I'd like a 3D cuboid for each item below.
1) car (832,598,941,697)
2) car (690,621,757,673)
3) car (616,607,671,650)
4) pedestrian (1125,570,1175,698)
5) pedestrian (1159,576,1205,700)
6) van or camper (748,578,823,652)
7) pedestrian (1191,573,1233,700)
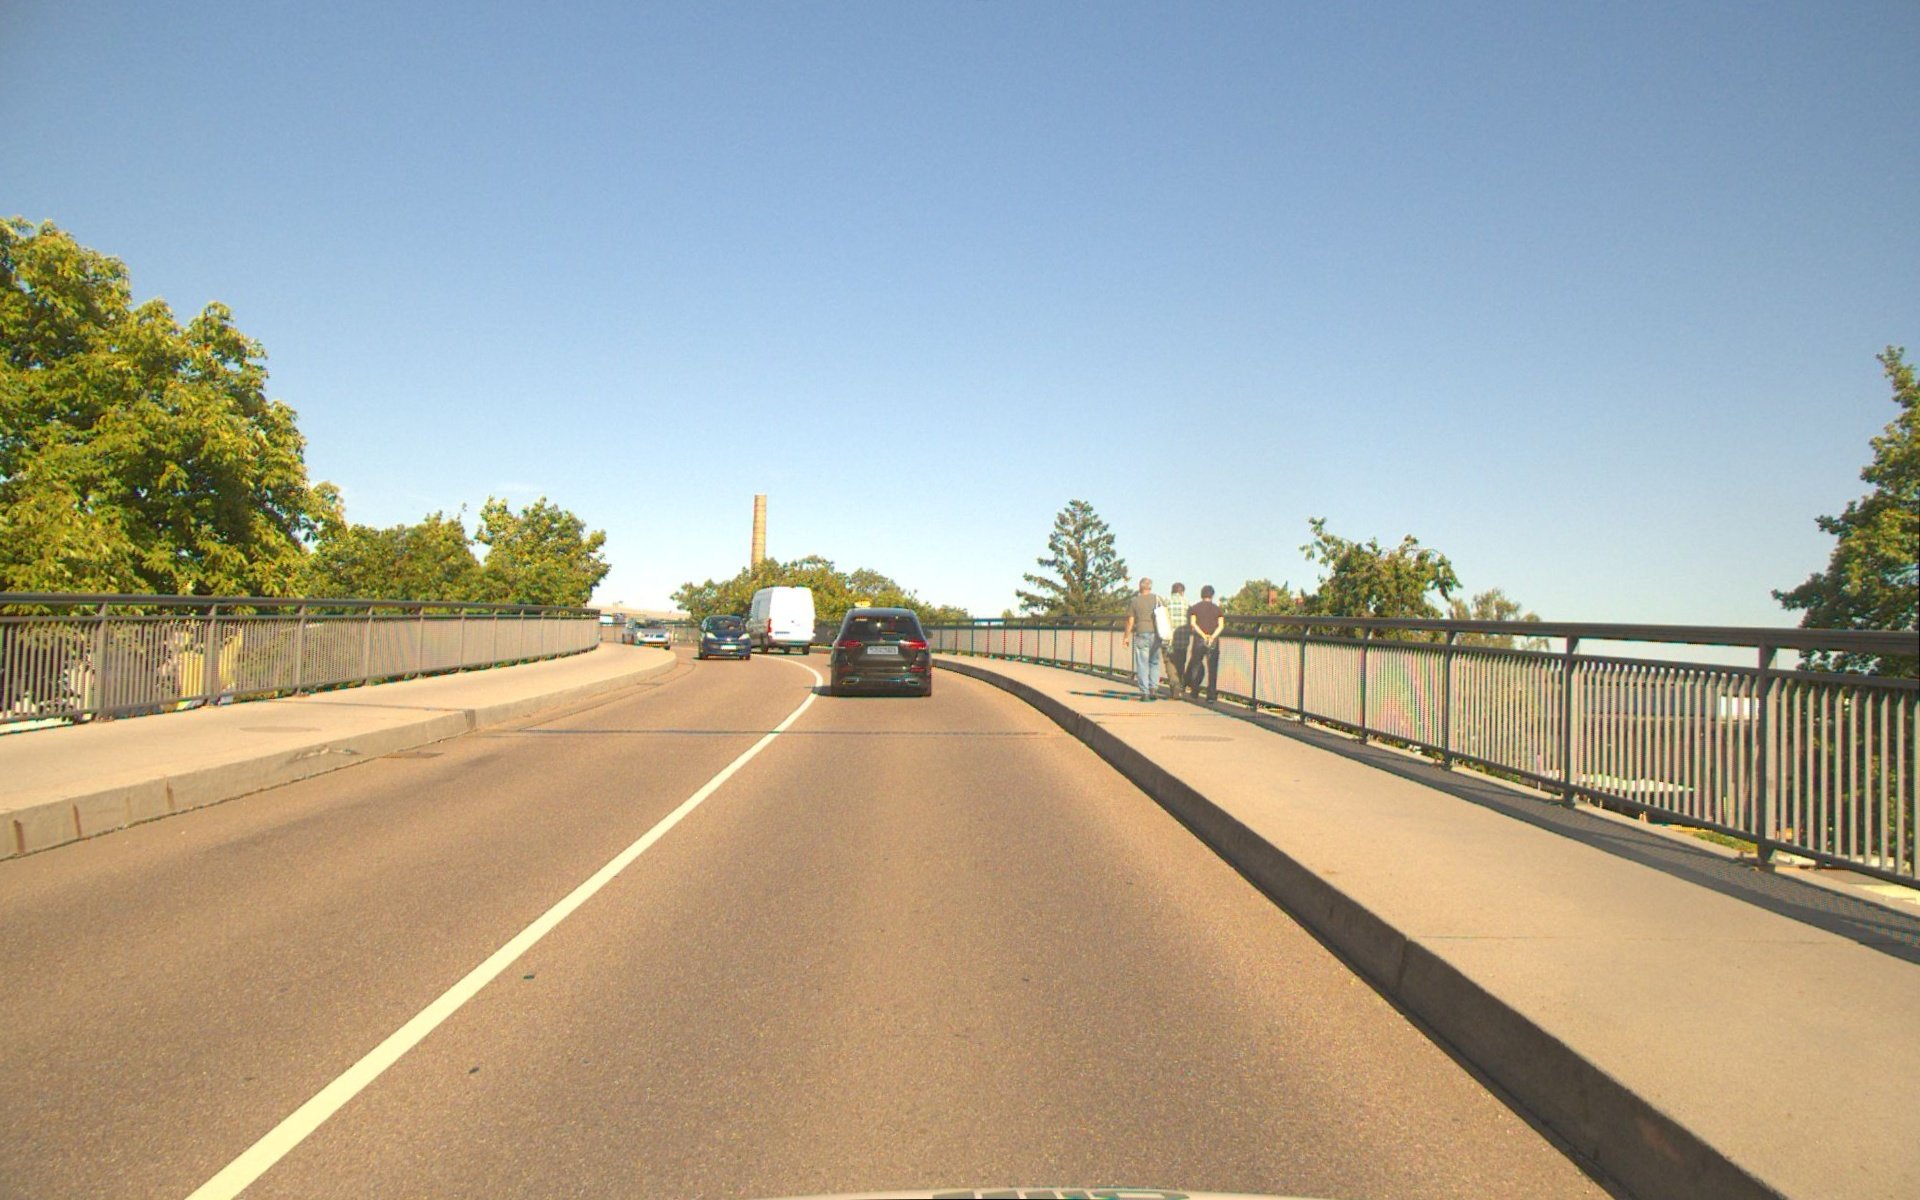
[{"bbox_3d":[-1.397,0.823,29.884,1.735,1.620,3.984,2,-1,-5],"label":"car"},{"bbox_3d":[-7.963,1.545,55.865,1.734,1.620,3.987,2,-1,-2],"label":"car"},{"bbox_3d":[-14.885,1.322,77.735,1.822,1.829,3.974,0,2,-22],"label":"car"},{"bbox_3d":[2.709,0.495,23.611,0.590,1.781,0.716,2,-3,-1],"label":"pedestrian"},{"bbox_3d":[3.275,0.563,24.403,0.538,1.781,0.738,2,-3,-1],"label":"pedestrian"},{"bbox_3d":[-7.340,0.702,68.825,2.188,2.787,7.055,2,-3,-13],"label":"van or camper"},{"bbox_3d":[3.596,0.530,23.619,0.462,1.781,0.653,2,-3,-1],"label":"pedestrian"}]
